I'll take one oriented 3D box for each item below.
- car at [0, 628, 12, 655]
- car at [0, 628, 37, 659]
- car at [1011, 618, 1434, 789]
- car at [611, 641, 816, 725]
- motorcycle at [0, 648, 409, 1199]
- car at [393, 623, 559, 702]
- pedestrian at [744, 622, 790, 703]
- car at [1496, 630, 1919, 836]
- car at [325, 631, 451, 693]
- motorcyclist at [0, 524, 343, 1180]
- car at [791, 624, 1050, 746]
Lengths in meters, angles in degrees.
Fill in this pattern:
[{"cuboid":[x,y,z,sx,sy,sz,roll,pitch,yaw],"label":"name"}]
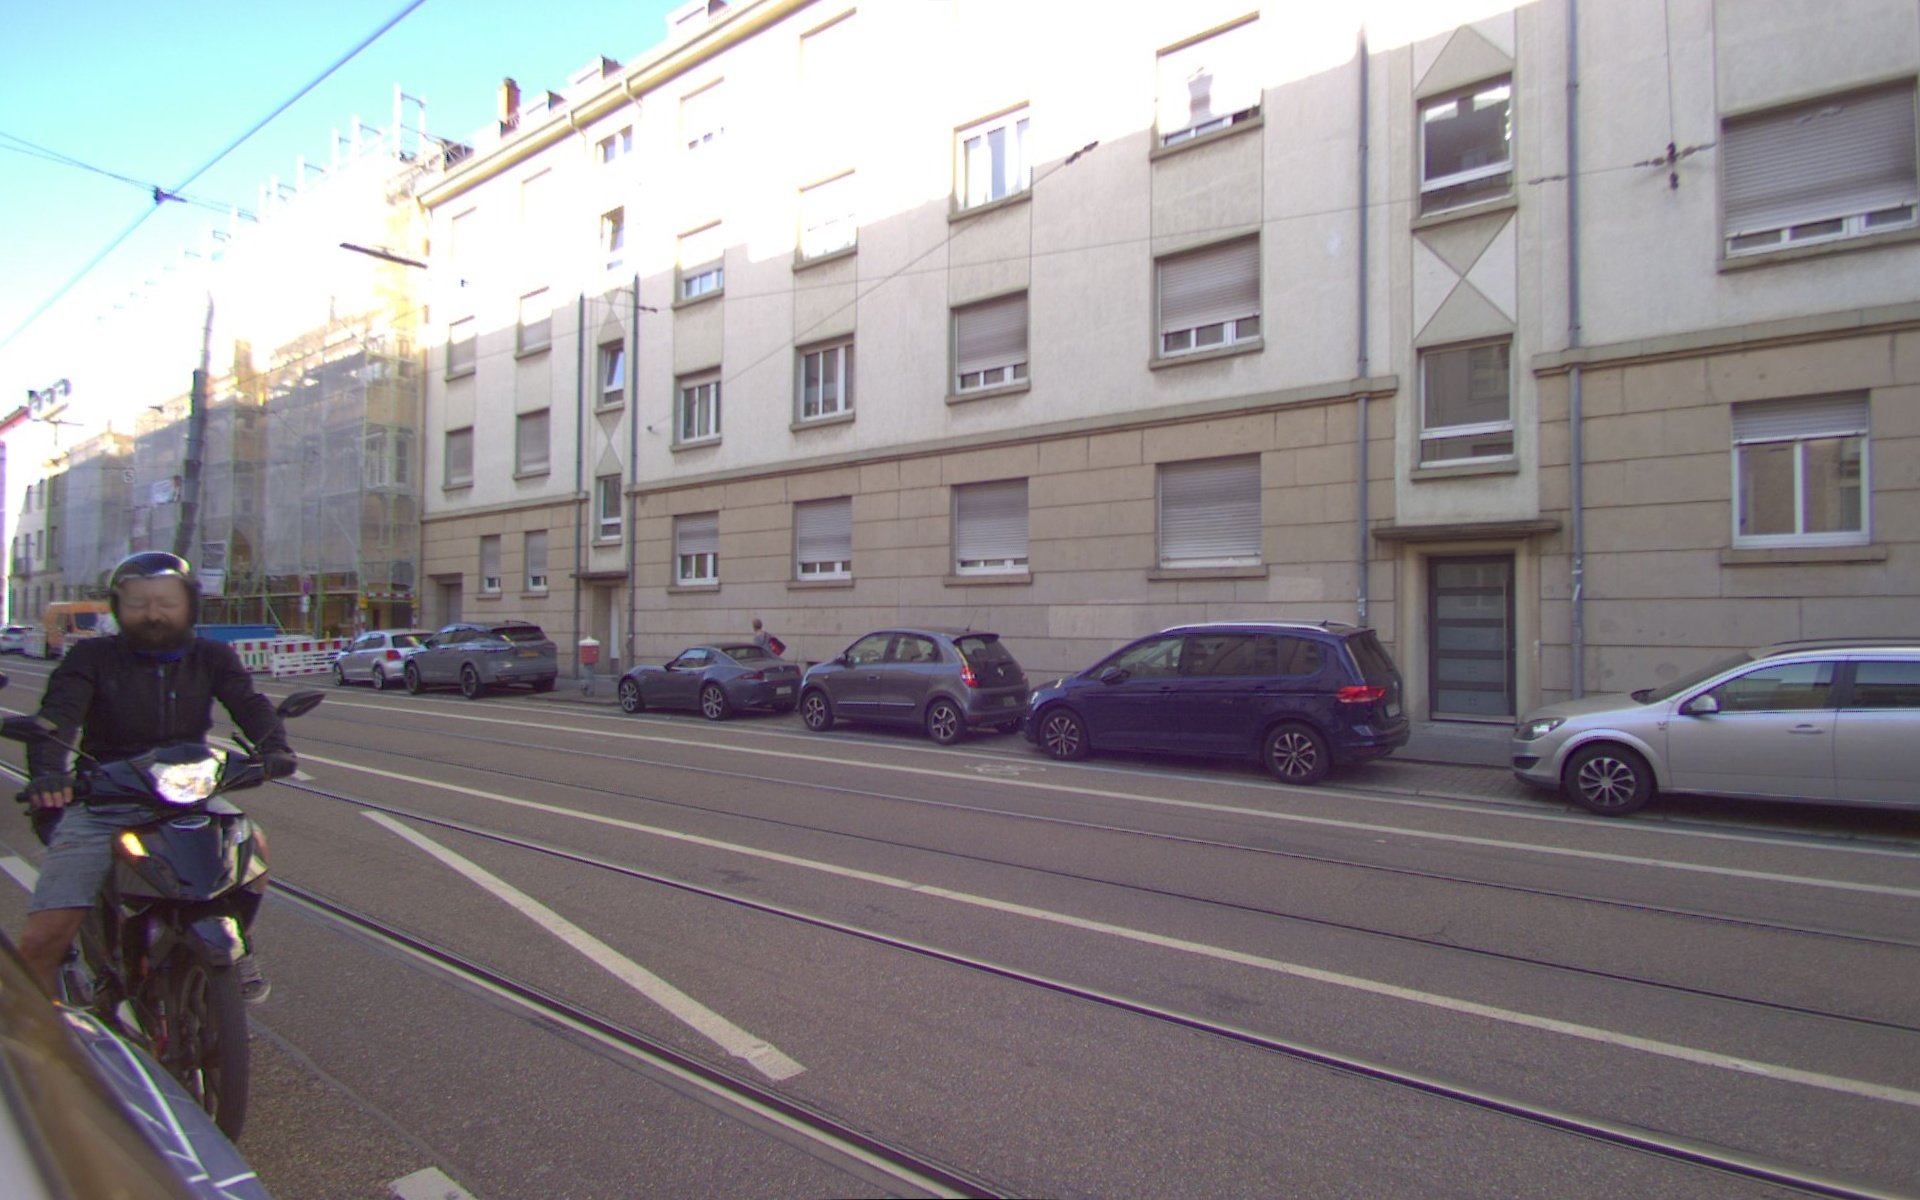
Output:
[{"cuboid":[-54.579,2.330,56.824,3.964,1.498,1.662,-2,-1,42],"label":"car"},{"cuboid":[-50.064,2.274,53.348,3.964,1.498,1.662,-2,-1,42],"label":"car"},{"cuboid":[2.893,1.036,11.681,4.383,1.611,1.779,-1,-1,38],"label":"car"},{"cuboid":[-4.313,1.369,17.506,3.681,1.244,1.502,-1,-1,38],"label":"car"},{"cuboid":[-2.639,0.820,3.243,2.272,1.302,0.781,-2,-3,41],"label":"motorcycle"},{"cuboid":[-10.882,1.337,22.666,4.201,1.611,1.675,-1,-1,38],"label":"car"},{"cuboid":[-3.780,1.206,19.819,0.693,1.553,0.563,-2,-3,39],"label":"pedestrian"},{"cuboid":[7.127,1.005,8.507,4.383,1.489,1.779,-1,-1,38],"label":"car"},{"cuboid":[-14.383,1.502,25.403,3.506,1.423,1.524,-1,-1,38],"label":"car"},{"cuboid":[-2.542,0.658,3.165,0.899,1.668,0.781,-2,-3,41],"label":"motorcyclist"},{"cuboid":[-0.627,1.136,14.660,3.535,1.539,1.659,-1,-1,38],"label":"car"}]
